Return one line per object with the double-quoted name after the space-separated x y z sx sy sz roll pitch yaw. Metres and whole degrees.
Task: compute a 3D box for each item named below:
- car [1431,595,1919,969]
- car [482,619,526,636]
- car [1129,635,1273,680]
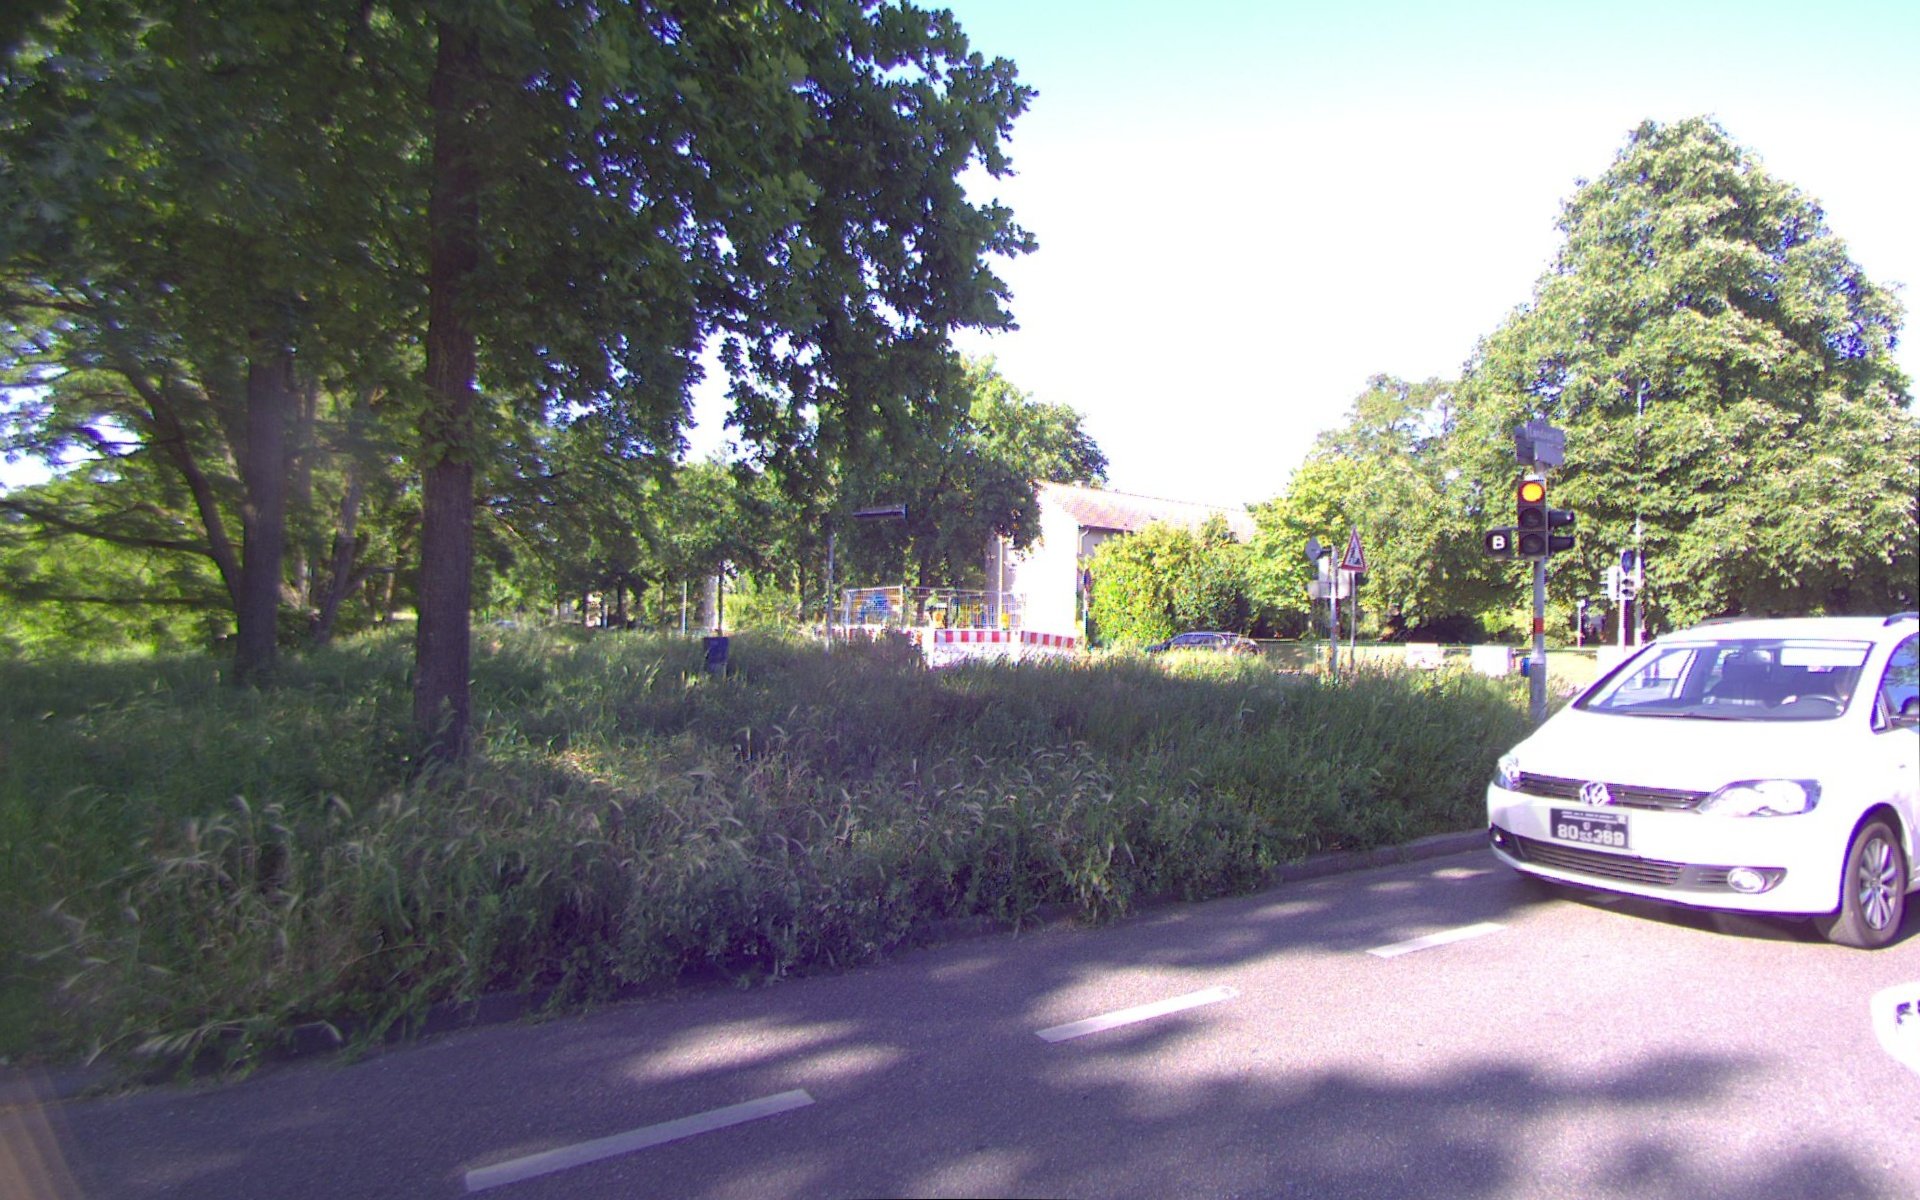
4.957 0.842 6.006 4.068 1.583 1.746 1 -3 -28 "car"
-47.390 2.866 104.490 3.939 1.673 1.991 2 0 -20 "car"
8.347 1.953 35.127 1.983 1.449 4.691 2 -3 -39 "car"
